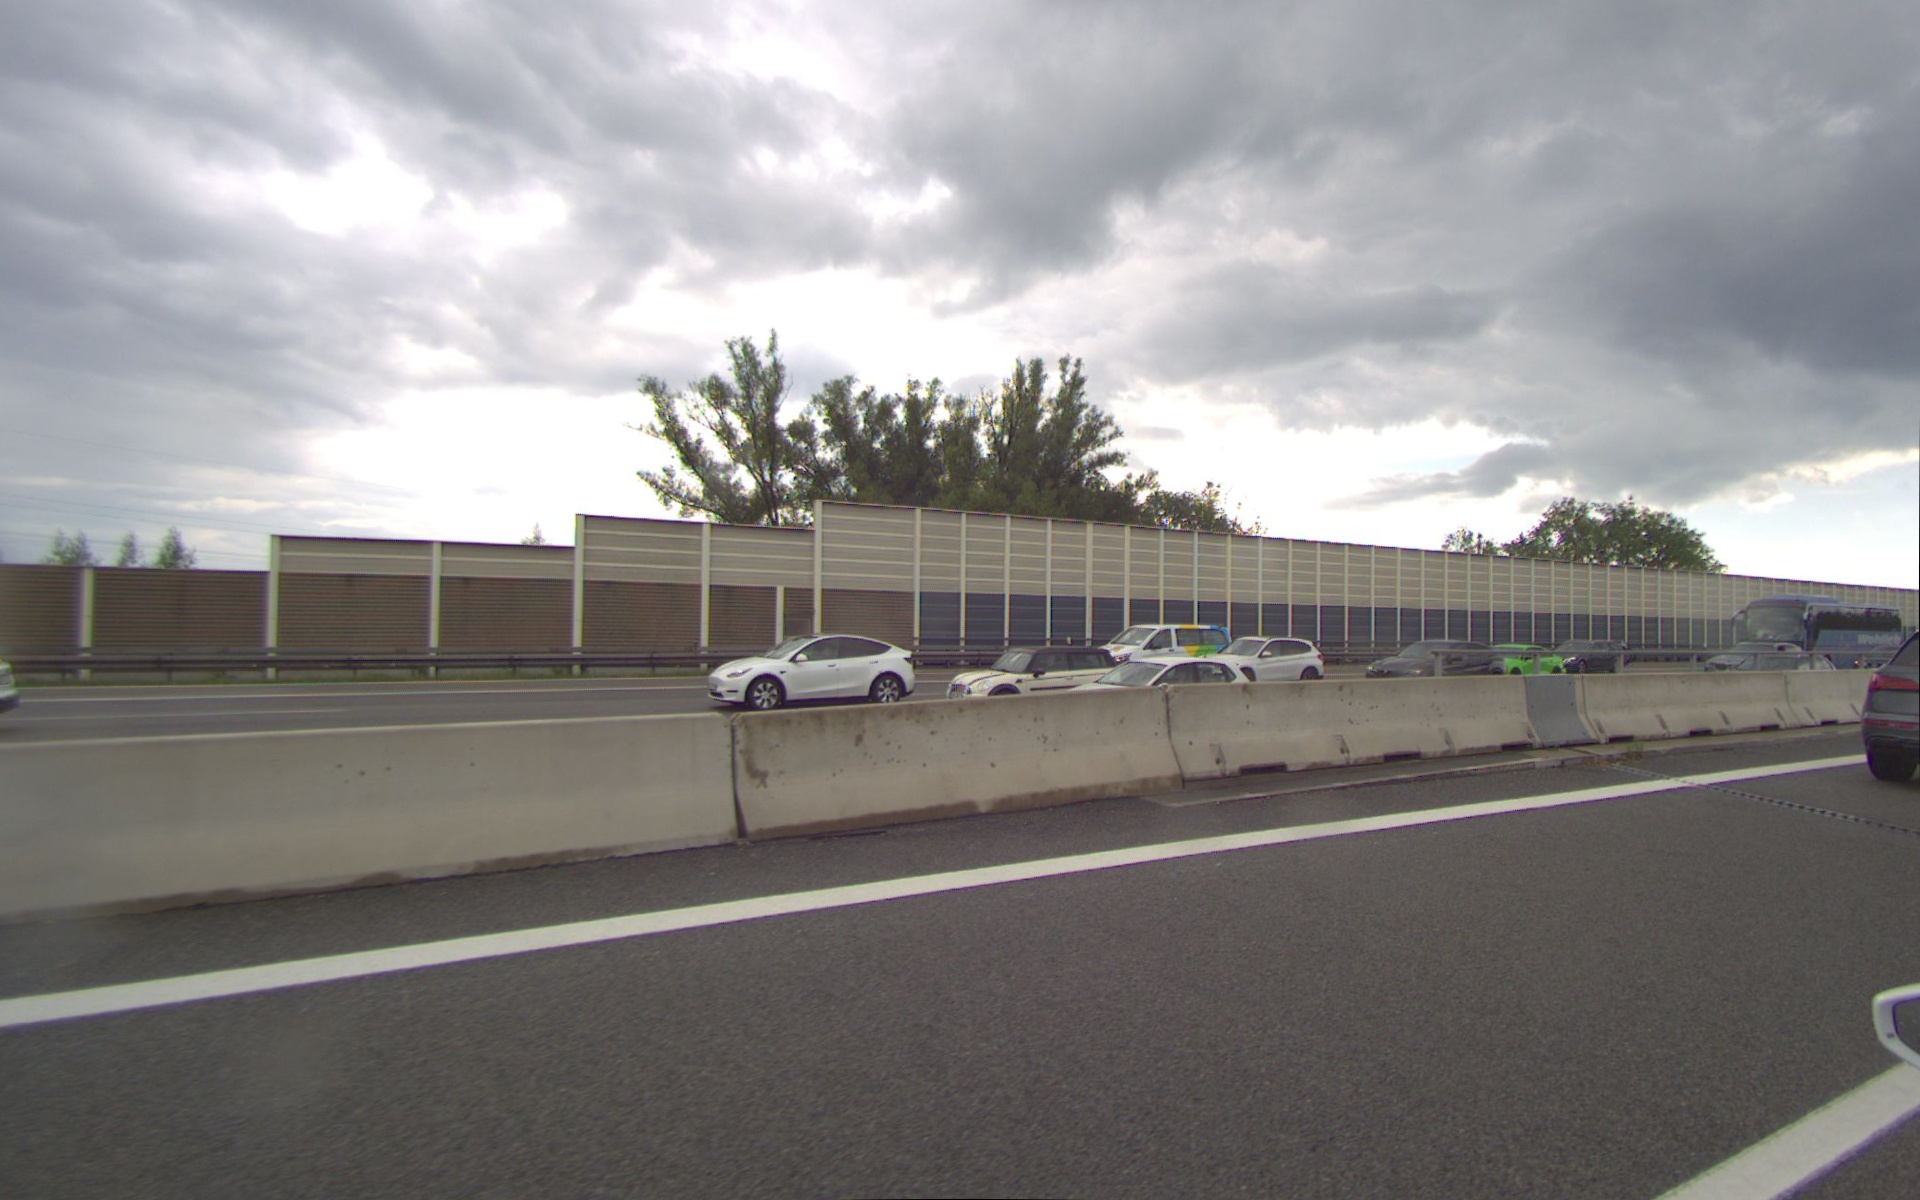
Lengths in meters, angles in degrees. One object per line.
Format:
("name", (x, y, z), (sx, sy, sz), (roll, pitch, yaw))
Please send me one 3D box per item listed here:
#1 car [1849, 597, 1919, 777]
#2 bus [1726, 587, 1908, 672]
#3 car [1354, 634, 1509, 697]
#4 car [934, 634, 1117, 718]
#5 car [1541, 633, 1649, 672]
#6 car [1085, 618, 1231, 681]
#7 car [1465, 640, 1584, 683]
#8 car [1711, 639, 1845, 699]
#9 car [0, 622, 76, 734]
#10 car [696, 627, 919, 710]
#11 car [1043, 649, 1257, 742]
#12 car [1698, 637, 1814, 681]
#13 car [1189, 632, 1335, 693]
("car", (11.550, 0.886, 10.505), (5.108, 1.713, 1.899), (2, -1, -31))
("bus", (42.187, 1.480, 49.271), (11.739, 3.808, 3.078), (1, -1, -30))
("car", (13.239, 1.786, 28.179), (4.128, 1.632, 1.926), (1, -1, -30))
("car", (1.394, 1.547, 21.176), (3.576, 1.601, 1.613), (1, -1, -30))
("car", (28.863, 2.362, 45.627), (5.620, 1.632, 1.739), (1, -1, -30))
("car", (6.479, 1.586, 32.726), (4.727, 1.918, 1.739), (1, -1, -31))
("car", (20.413, 2.175, 36.255), (4.663, 1.449, 1.738), (1, -1, -32))
("car", (24.292, 1.986, 29.791), (4.128, 1.629, 1.739), (1, -1, -30))
("car", (-16.119, 1.142, 14.815), (4.342, 1.652, 1.738), (1, -1, -32))
("car", (-3.317, 1.455, 22.213), (4.593, 1.652, 1.738), (1, -1, -32))
("car", (3.345, 1.598, 17.589), (3.533, 1.412, 1.565), (1, -1, -30))
("car", (29.907, 2.167, 37.692), (4.868, 1.546, 1.739), (1, -1, -30))
("car", (8.797, 1.775, 29.190), (4.128, 1.632, 1.739), (1, -1, -30))
